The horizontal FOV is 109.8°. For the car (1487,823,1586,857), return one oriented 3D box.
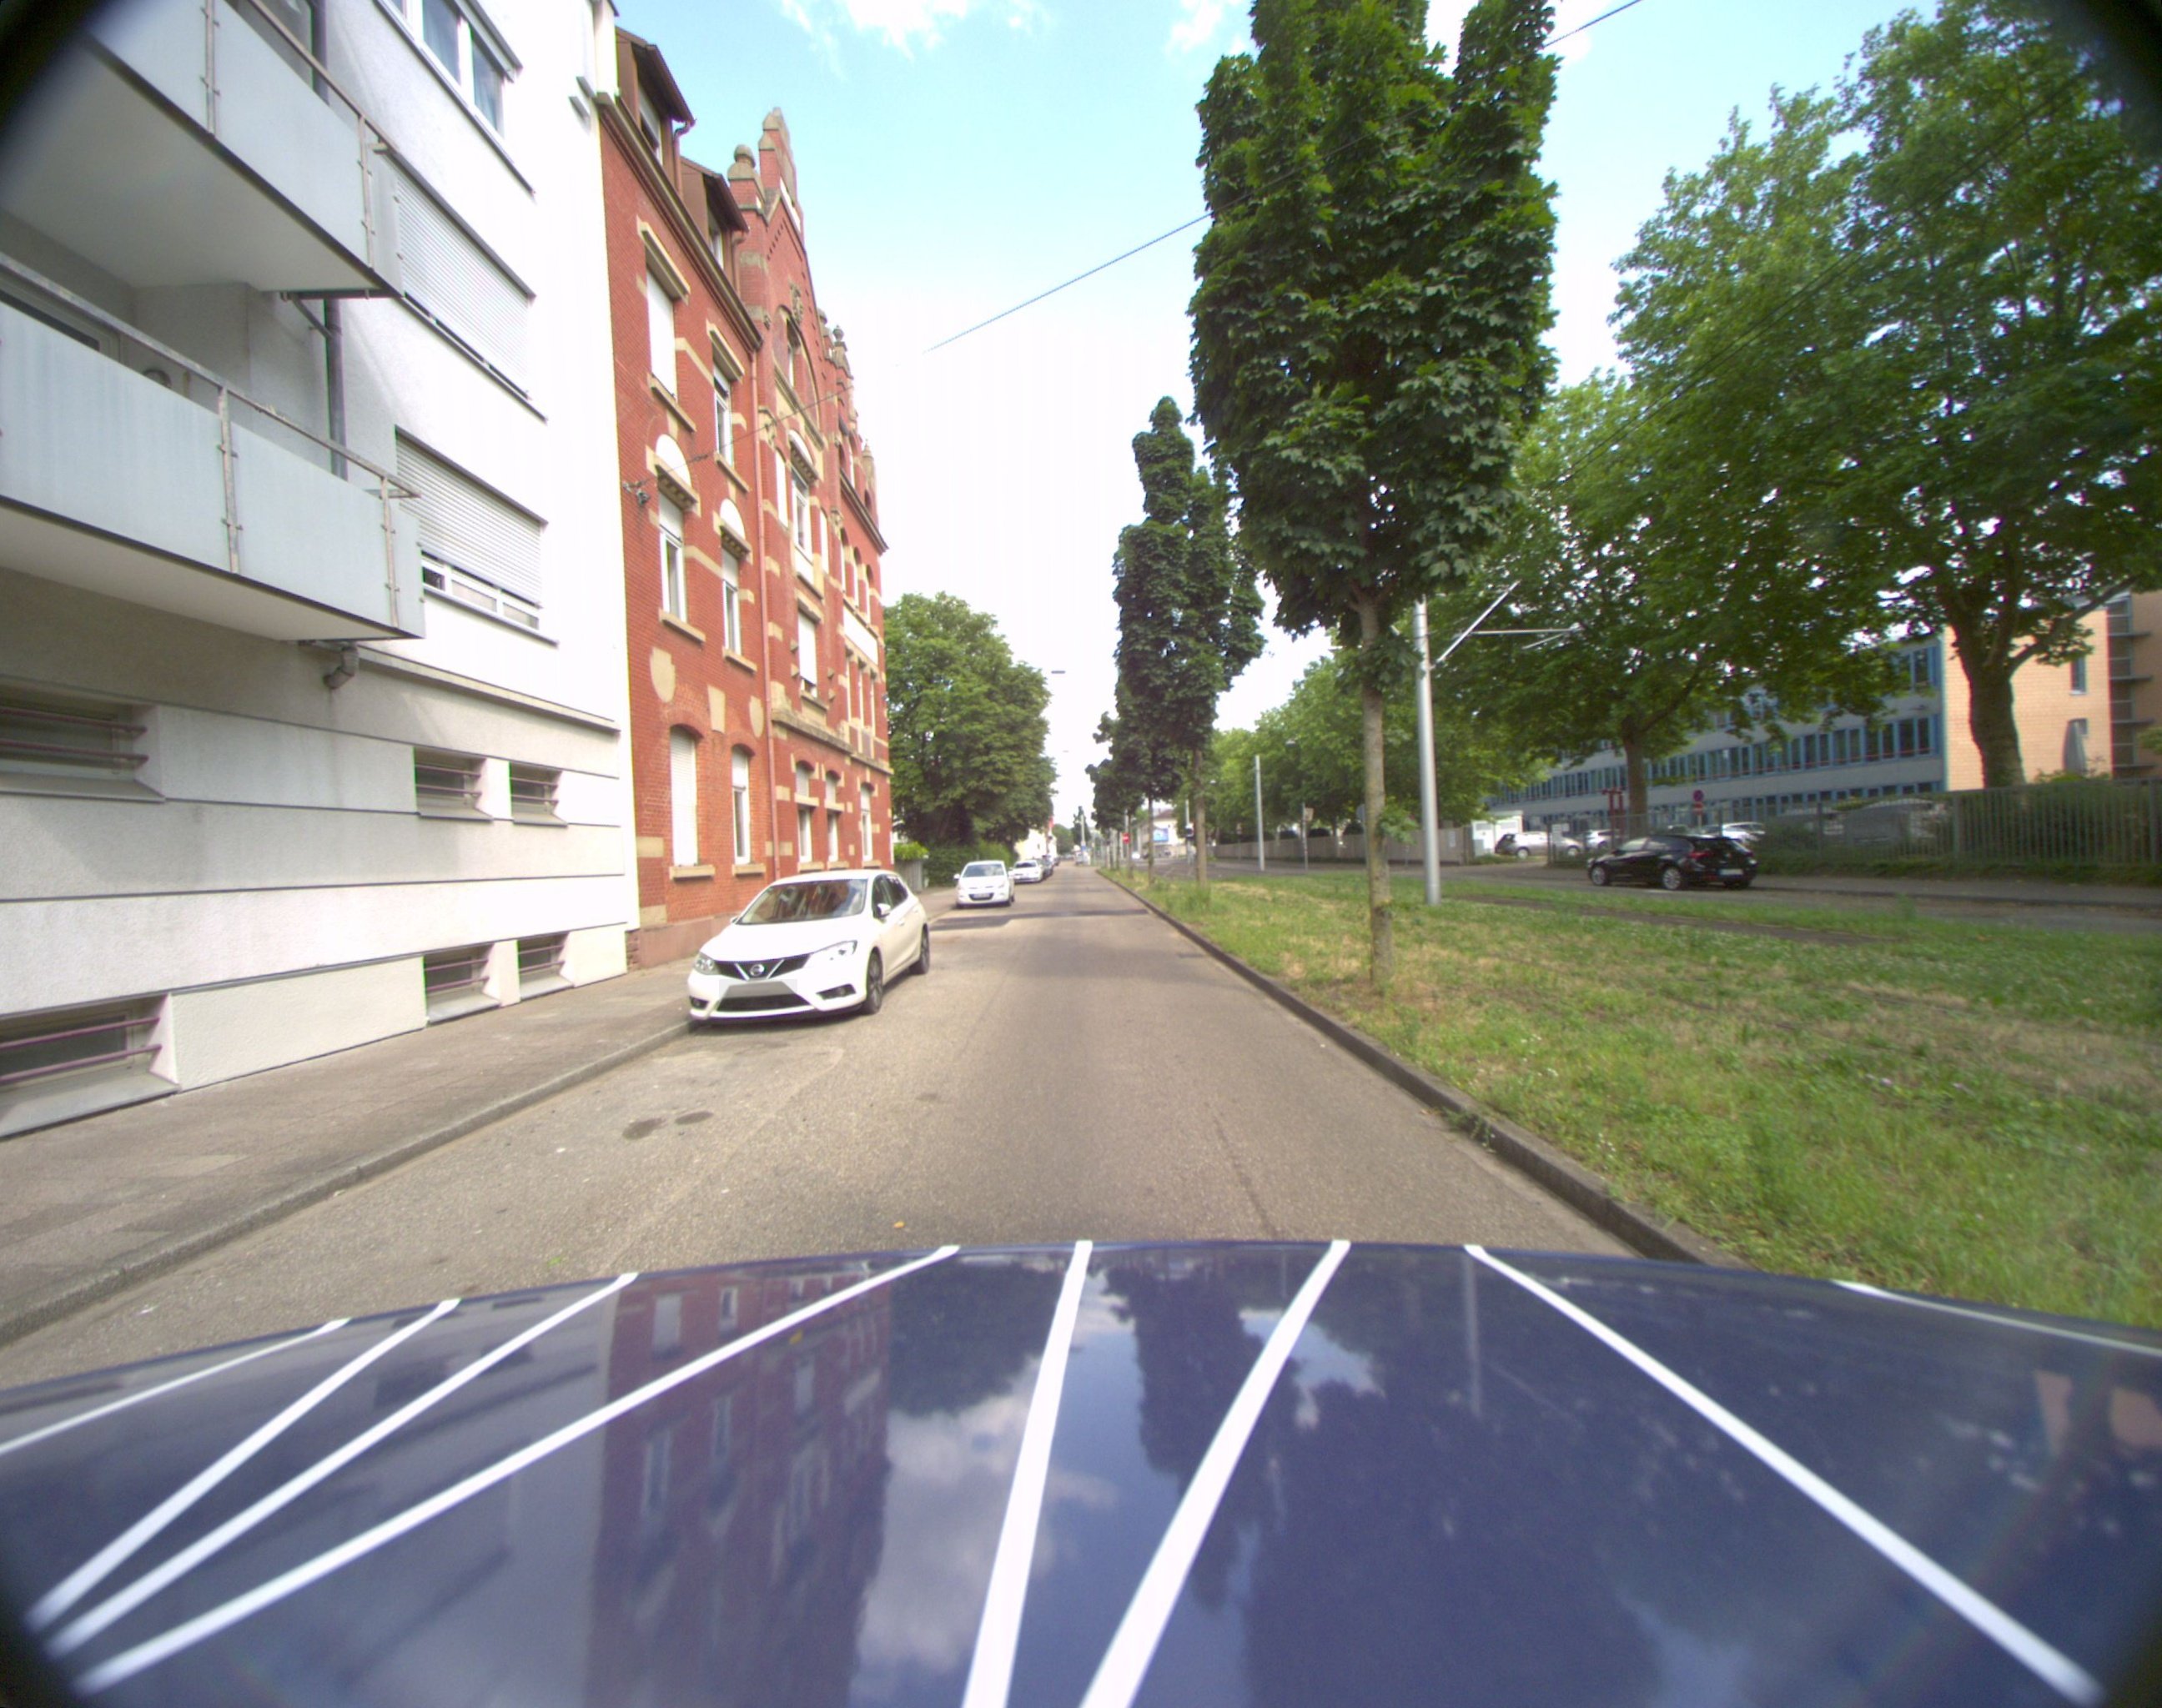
[{"bbox_3d":[23.993,-0.719,40.124,3.997,1.608,1.999,-2,1,-2],"label":"car"}]

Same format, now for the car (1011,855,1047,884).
[{"bbox_3d":[-3.146,0.930,46.715,1.801,1.521,4.040,-5,0,0],"label":"car"}]

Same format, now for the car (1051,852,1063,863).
[{"bbox_3d":[-3.851,0.517,122.136,1.801,1.521,4.040,-5,0,0],"label":"car"}]

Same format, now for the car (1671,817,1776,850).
[{"bbox_3d":[34.565,-1.086,40.953,3.997,1.608,1.999,-2,1,-2],"label":"car"}]

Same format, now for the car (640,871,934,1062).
[{"bbox_3d":[-3.050,1.066,8.896,1.801,1.521,4.040,-3,0,0],"label":"car"}]

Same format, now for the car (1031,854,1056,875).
[{"bbox_3d":[-3.133,0.845,63.858,1.801,1.521,4.040,-5,0,0],"label":"car"}]

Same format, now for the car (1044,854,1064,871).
[{"bbox_3d":[-2.727,0.865,78.151,1.801,1.521,4.040,-5,0,0],"label":"car"}]

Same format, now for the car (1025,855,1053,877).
[{"bbox_3d":[-3.200,0.896,58.445,1.801,1.521,4.040,-5,0,0],"label":"car"}]

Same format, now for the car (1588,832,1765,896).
[{"bbox_3d":[15.557,0.222,20.145,1.601,1.455,4.000,-3,0,2],"label":"car"}]

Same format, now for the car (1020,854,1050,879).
[{"bbox_3d":[-3.161,0.857,52.985,1.801,1.521,4.040,-5,0,0],"label":"car"}]

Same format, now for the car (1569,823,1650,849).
[{"bbox_3d":[35.380,-1.203,50.942,3.997,1.608,1.999,-2,1,-2],"label":"car"}]

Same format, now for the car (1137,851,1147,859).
[{"bbox_3d":[12.588,0.095,157.098,1.801,1.521,4.040,-4,0,0],"label":"car"}]

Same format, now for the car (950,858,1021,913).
[{"bbox_3d":[-3.076,0.977,25.292,1.801,1.521,4.040,-4,0,0],"label":"car"}]
